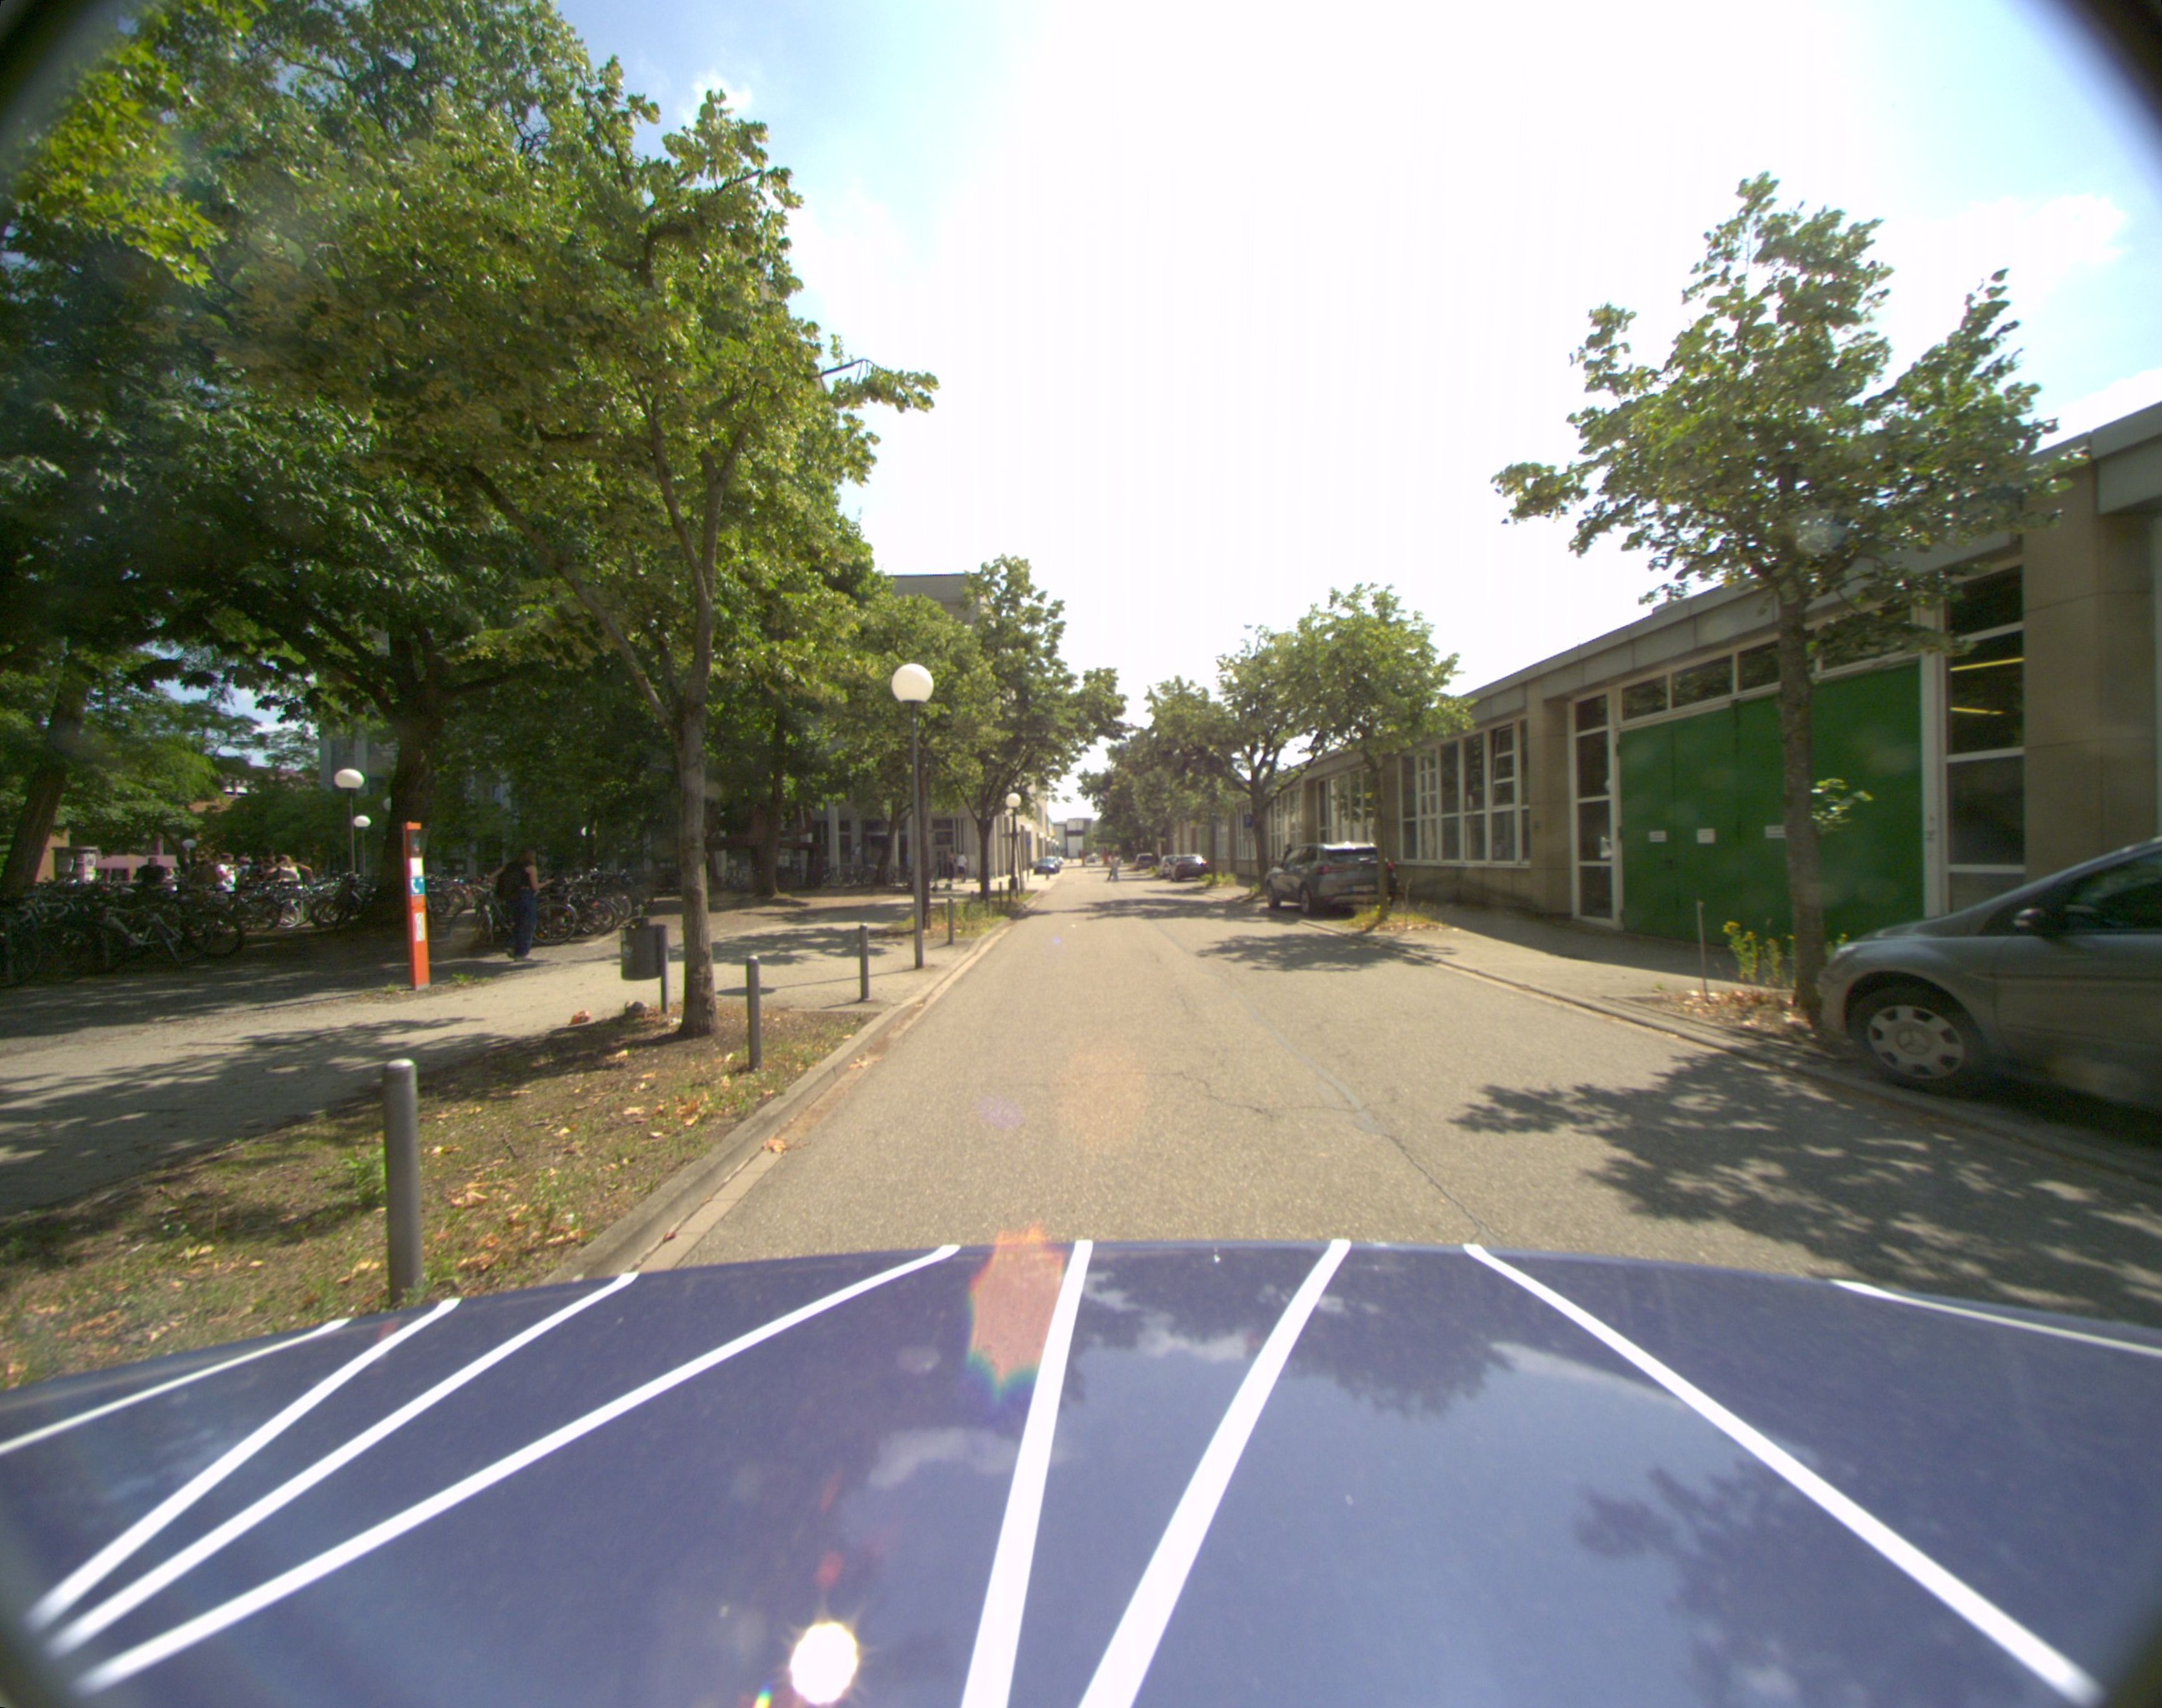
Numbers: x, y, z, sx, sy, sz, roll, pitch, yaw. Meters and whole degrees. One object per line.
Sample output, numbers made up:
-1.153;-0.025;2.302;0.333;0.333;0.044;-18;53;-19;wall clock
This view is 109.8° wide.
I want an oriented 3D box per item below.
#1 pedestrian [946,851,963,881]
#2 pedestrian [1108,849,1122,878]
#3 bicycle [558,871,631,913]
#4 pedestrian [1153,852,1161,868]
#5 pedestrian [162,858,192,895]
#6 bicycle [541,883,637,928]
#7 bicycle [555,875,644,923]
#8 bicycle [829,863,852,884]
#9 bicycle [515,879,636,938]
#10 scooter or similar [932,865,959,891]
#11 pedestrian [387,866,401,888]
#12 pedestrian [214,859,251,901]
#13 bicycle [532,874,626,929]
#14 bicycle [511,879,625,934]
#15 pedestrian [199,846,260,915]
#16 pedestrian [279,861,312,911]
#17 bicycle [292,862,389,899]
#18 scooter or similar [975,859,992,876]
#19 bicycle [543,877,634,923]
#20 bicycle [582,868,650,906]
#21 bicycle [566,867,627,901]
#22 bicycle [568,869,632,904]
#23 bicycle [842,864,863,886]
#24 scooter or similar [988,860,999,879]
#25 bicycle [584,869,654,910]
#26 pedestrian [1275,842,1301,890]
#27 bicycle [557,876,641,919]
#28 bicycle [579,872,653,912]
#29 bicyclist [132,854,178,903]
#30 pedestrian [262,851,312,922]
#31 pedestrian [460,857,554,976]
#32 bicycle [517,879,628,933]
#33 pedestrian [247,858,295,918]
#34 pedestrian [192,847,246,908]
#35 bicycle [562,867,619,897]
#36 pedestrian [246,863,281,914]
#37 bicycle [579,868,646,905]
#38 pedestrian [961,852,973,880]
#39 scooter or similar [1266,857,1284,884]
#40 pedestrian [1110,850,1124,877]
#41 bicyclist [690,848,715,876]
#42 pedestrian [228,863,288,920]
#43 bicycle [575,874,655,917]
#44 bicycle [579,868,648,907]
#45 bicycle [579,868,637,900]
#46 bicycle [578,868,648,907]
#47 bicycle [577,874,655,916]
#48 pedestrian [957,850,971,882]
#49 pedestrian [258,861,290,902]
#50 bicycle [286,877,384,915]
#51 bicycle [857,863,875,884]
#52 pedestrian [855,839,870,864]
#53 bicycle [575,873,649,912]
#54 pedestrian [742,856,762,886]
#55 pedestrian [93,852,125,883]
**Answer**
-7.863;0.733;47.262;0.811;1.787;0.618;-2;1;-43;pedestrian
2.047;0.563;45.295;0.797;1.718;0.601;-1;1;1;pedestrian
-14.368;1.095;22.467;1.796;1.163;0.401;-1;0;-34;bicycle
7.489;0.547;74.695;0.604;1.571;0.552;1;0;31;pedestrian
-37.087;0.924;31.177;0.693;1.503;0.513;2;0;-43;pedestrian
-10.872;1.118;16.855;1.741;0.904;0.493;-1;0;-29;bicycle
-11.376;1.044;17.990;1.742;1.046;0.493;-1;0;-36;bicycle
-12.315;0.998;39.009;0.481;1.079;1.697;1;-1;6;bicycle
-9.869;1.048;14.890;1.950;1.076;0.404;-1;0;-11;bicycle
-5.906;1.030;33.184;0.496;1.107;1.365;-1;-1;25;scooter or similar
-37.014;1.241;40.939;0.402;1.205;0.387;-1;0;8;pedestrian
-35.787;1.085;32.031;0.989;1.764;0.844;-1;0;30;pedestrian
-11.323;1.042;17.173;1.742;1.148;0.493;-1;0;-36;bicycle
-10.590;1.077;15.753;1.916;1.053;0.325;-1;0;-23;bicycle
-22.257;0.692;19.872;0.745;1.764;0.720;-1;0;-8;pedestrian
-28.380;1.153;27.466;0.746;1.764;0.719;-1;0;-40;pedestrian
-20.812;0.732;21.399;1.907;0.973;0.378;0;1;-30;bicycle
-7.319;1.029;56.914;0.566;1.205;1.506;-3;3;-40;scooter or similar
-11.809;1.082;18.274;1.800;1.022;0.439;-1;0;-32;bicycle
-15.121;1.059;24.726;0.344;1.163;1.849;0;0;43;bicycle
-17.782;1.080;27.909;1.849;1.163;0.352;-1;0;-36;bicycle
-16.874;1.142;26.688;1.849;1.163;0.352;-1;0;-36;bicycle
-11.821;1.082;39.292;0.481;1.079;1.516;1;-1;6;bicycle
-5.665;0.993;49.160;0.564;1.204;1.510;1;1;-1;scooter or similar
-14.058;1.064;23.160;1.796;1.163;0.401;-1;0;-34;bicycle
8.006;0.469;29.407;0.790;1.776;0.670;-3;0;3;pedestrian
-12.303;1.098;19.453;1.796;1.022;0.381;-1;0;-31;bicycle
-13.341;1.079;21.849;1.796;1.063;0.425;-1;0;-28;bicycle
-27.559;0.721;22.625;0.746;1.438;0.801;-1;0;-43;bicyclist
-20.445;0.823;19.575;0.743;1.764;0.722;-1;0;30;pedestrian
-7.861;0.826;10.444;0.570;1.562;0.927;0;1;1;pedestrian
-10.698;1.077;16.043;1.916;1.053;0.325;-1;0;-23;bicycle
-24.799;1.026;23.266;0.745;1.764;0.719;-1;0;-21;pedestrian
-25.298;0.688;22.321;0.745;1.764;0.720;-1;0;-8;pedestrian
-19.568;1.100;30.318;1.849;1.163;0.412;-1;0;-39;bicycle
-28.993;1.210;26.948;0.746;1.764;0.719;-1;0;-40;pedestrian
-15.385;1.054;24.990;0.344;1.163;1.849;0;0;43;bicycle
-7.116;0.762;47.293;0.613;1.719;0.542;-1;1;1;pedestrian
8.831;0.747;34.615;0.383;1.200;1.246;-3;0;-1;scooter or similar
2.091;0.557;44.547;0.797;1.533;0.664;-1;1;1;pedestrian
-21.724;0.475;43.651;0.958;1.533;0.839;1;-2;3;bicyclist
-26.514;1.192;24.494;0.964;1.764;0.971;-1;0;-21;pedestrian
-12.505;1.101;20.436;1.796;1.063;0.425;-1;0;-30;bicycle
-14.912;1.060;24.244;1.848;1.163;0.344;-1;0;-34;bicycle
-17.956;1.129;28.876;1.849;1.163;0.352;-1;0;-36;bicycle
-14.733;1.038;23.940;1.848;1.163;0.344;-1;0;-34;bicycle
-12.716;1.099;20.822;1.796;1.063;0.425;-1;0;-30;bicycle
-7.114;0.711;46.189;0.687;1.880;0.686;-2;2;-2;pedestrian
-35.073;1.189;33.017;0.810;1.764;0.856;-1;0;38;pedestrian
-20.605;1.140;21.028;1.907;0.973;0.378;0;1;-30;bicycle
-11.060;1.011;39.165;0.460;1.079;1.474;1;-1;2;bicycle
-15.896;-0.158;55.385;0.618;1.787;0.811;0;1;32;pedestrian
-13.764;1.118;22.319;1.796;1.063;0.425;-1;0;-35;bicycle
-19.912;1.011;46.001;0.939;1.730;0.747;-2;1;-33;pedestrian
-50.309;0.700;39.318;0.720;1.560;0.745;-1;0;8;pedestrian
